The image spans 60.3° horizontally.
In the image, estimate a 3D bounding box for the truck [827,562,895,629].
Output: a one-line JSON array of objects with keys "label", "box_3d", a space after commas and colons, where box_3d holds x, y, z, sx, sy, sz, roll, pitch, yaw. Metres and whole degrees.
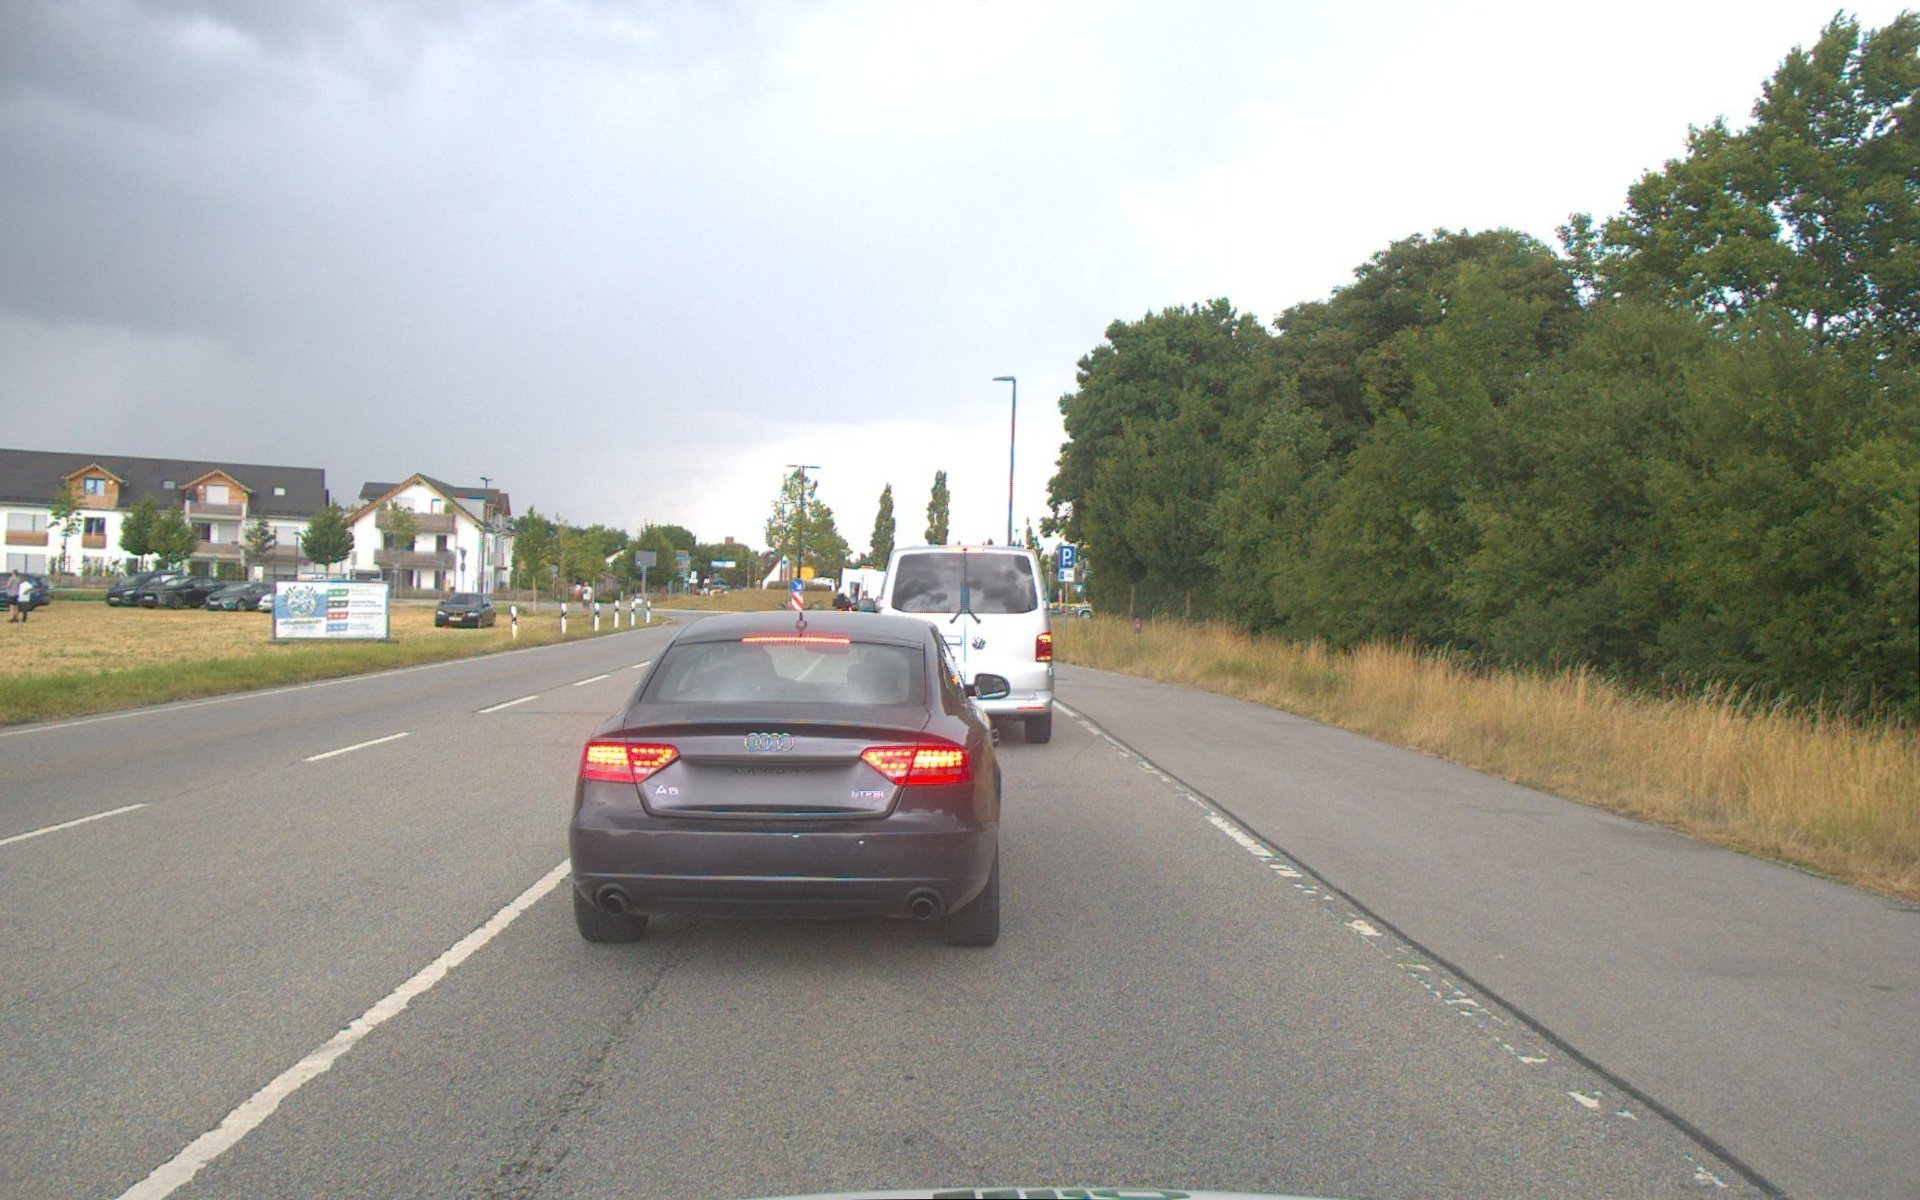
[{"label": "truck", "box_3d": [-4.548, -0.206, 74.980, 2.577, 2.785, 5.857, 2, 0, -8]}]

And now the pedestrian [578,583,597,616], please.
[{"label": "pedestrian", "box_3d": [-18.820, -0.031, 83.561, 0.652, 1.613, 0.692, 2, 0, -42]}]

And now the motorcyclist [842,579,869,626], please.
[{"label": "motorcyclist", "box_3d": [-3.177, 0.079, 50.175, 0.756, 1.407, 0.820, 2, 0, -2]}]

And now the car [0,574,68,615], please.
[{"label": "car", "box_3d": [-41.764, -0.260, 72.242, 4.649, 1.727, 1.987, 1, 0, -22]}]

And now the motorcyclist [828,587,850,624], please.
[{"label": "motorcyclist", "box_3d": [-4.640, 0.204, 63.565, 0.770, 1.380, 0.853, 2, 0, -3]}]

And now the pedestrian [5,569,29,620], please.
[{"label": "pedestrian", "box_3d": [-34.257, -0.204, 60.067, 0.539, 1.817, 0.676, 1, 0, -13]}]

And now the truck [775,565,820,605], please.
[{"label": "truck", "box_3d": [-16.169, -1.503, 163.803, 3.511, 3.640, 9.933, 2, 0, -10]}]

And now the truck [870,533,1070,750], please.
[{"label": "truck", "box_3d": [0.061, 0.388, 18.132, 1.865, 2.033, 4.627, 1, 0, -1]}]

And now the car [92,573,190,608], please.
[{"label": "car", "box_3d": [-40.704, -0.480, 82.295, 1.951, 1.657, 4.214, 1, 0, 17]}]

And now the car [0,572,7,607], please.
[{"label": "car", "box_3d": [-50.896, -0.593, 83.447, 4.560, 1.727, 1.987, 1, 0, -22]}]

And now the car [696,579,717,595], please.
[{"label": "car", "box_3d": [-27.388, -1.393, 178.841, 1.955, 1.670, 3.996, 2, 0, -5]}]

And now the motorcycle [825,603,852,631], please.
[{"label": "motorcycle", "box_3d": [-4.656, 0.646, 63.648, 0.925, 1.037, 2.283, 2, 0, -2]}]

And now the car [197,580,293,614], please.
[{"label": "car", "box_3d": [-34.433, -0.124, 79.755, 1.951, 1.562, 4.214, 1, 0, 17]}]

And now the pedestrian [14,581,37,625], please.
[{"label": "pedestrian", "box_3d": [-34.383, 0.101, 60.862, 0.581, 1.582, 0.622, 1, 0, -20]}]

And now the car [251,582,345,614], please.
[{"label": "car", "box_3d": [-31.716, -0.077, 79.405, 1.951, 1.471, 4.214, 1, 0, 17]}]

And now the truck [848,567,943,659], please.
[{"label": "truck", "box_3d": [-1.522, 0.302, 40.623, 2.149, 2.049, 5.084, 1, 0, -1]}]

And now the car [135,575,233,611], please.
[{"label": "car", "box_3d": [-37.535, -0.315, 80.140, 1.951, 1.657, 4.214, 1, 0, 17]}]

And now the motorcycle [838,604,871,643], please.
[{"label": "motorcycle", "box_3d": [-3.193, 0.698, 50.172, 0.901, 1.113, 2.188, 2, 0, -2]}]

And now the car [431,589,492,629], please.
[{"label": "car", "box_3d": [-20.134, 0.331, 66.944, 1.958, 1.467, 3.989, 2, 1, -12]}]

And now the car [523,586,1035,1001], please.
[{"label": "car", "box_3d": [-0.656, 0.696, 8.102, 1.836, 1.479, 4.177, 1, 0, 0]}]

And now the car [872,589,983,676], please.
[{"label": "car", "box_3d": [-0.631, 0.575, 31.611, 1.953, 1.511, 3.999, 1, 0, -2]}]
